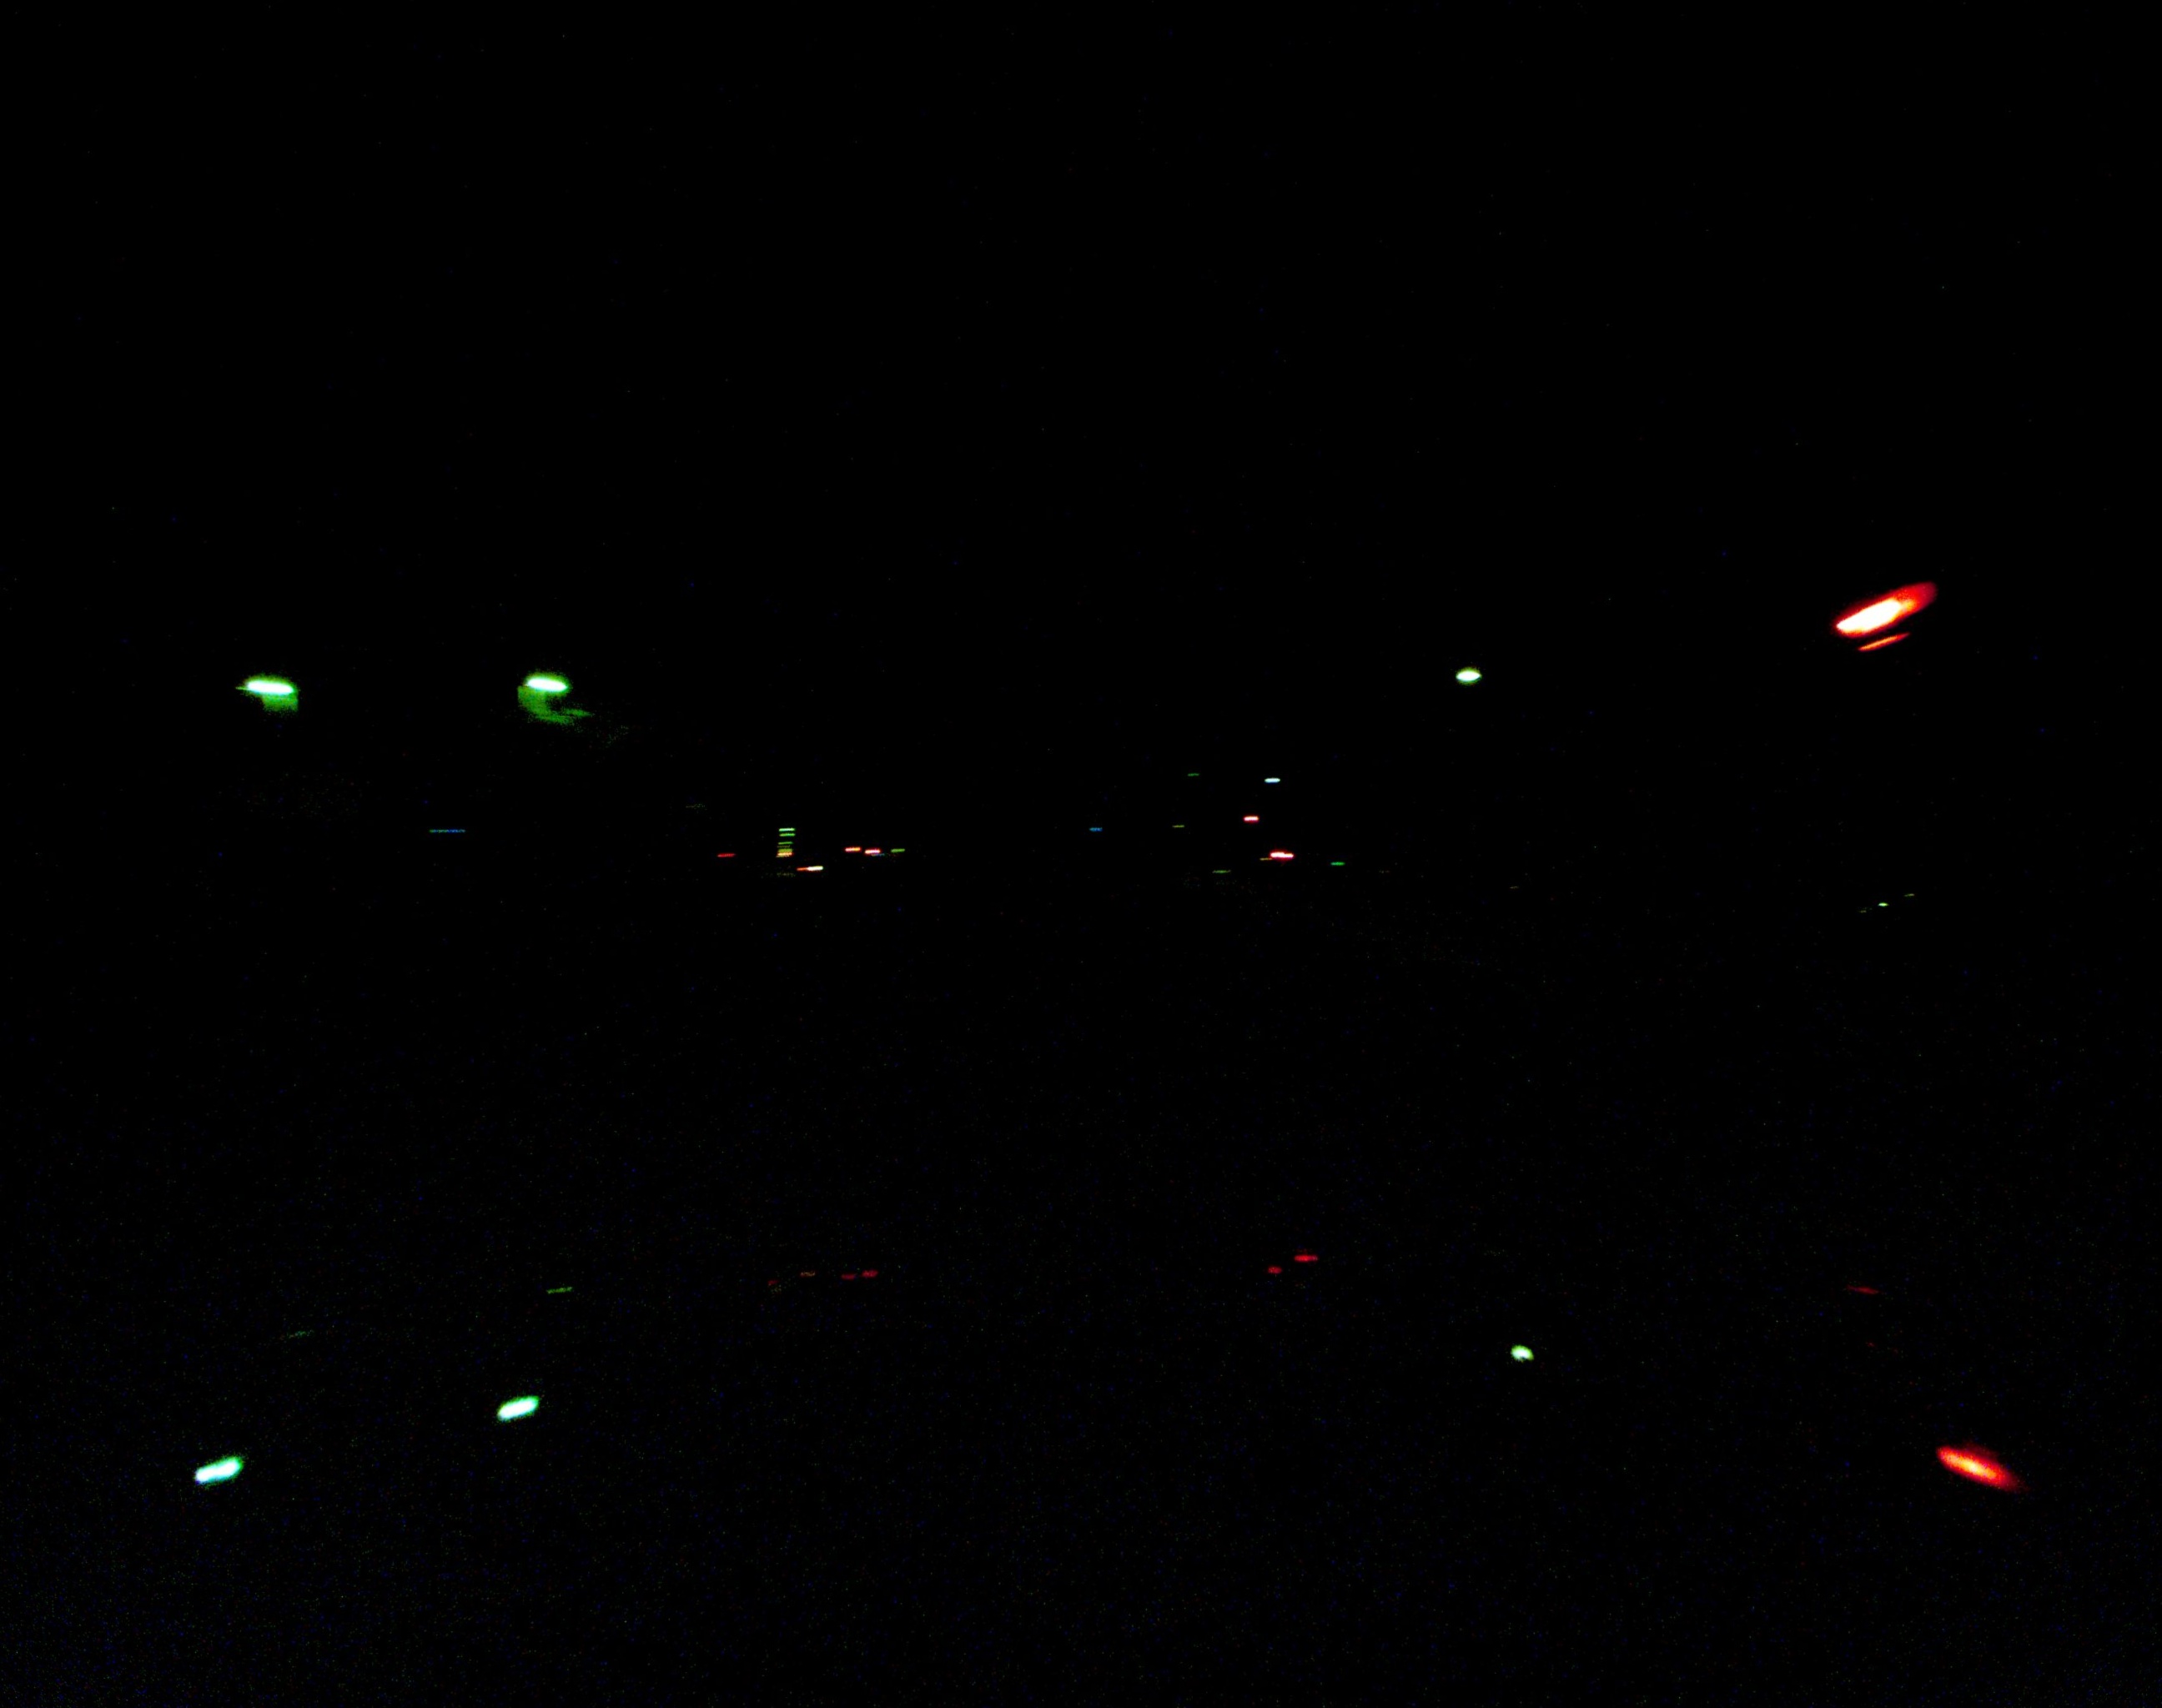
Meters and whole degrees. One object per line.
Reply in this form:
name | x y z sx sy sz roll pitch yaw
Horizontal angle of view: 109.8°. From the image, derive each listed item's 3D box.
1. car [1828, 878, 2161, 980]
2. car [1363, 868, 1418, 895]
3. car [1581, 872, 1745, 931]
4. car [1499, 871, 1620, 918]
car | 16.749 1.218 13.871 1.865 1.425 4.404 -1 -1 0
car | 17.678 1.554 43.565 1.633 1.455 3.514 0 0 -2
car | 16.784 1.315 22.225 1.555 1.425 4.349 -3 -1 2
car | 16.878 1.374 27.060 1.642 1.425 4.351 -3 -1 2
